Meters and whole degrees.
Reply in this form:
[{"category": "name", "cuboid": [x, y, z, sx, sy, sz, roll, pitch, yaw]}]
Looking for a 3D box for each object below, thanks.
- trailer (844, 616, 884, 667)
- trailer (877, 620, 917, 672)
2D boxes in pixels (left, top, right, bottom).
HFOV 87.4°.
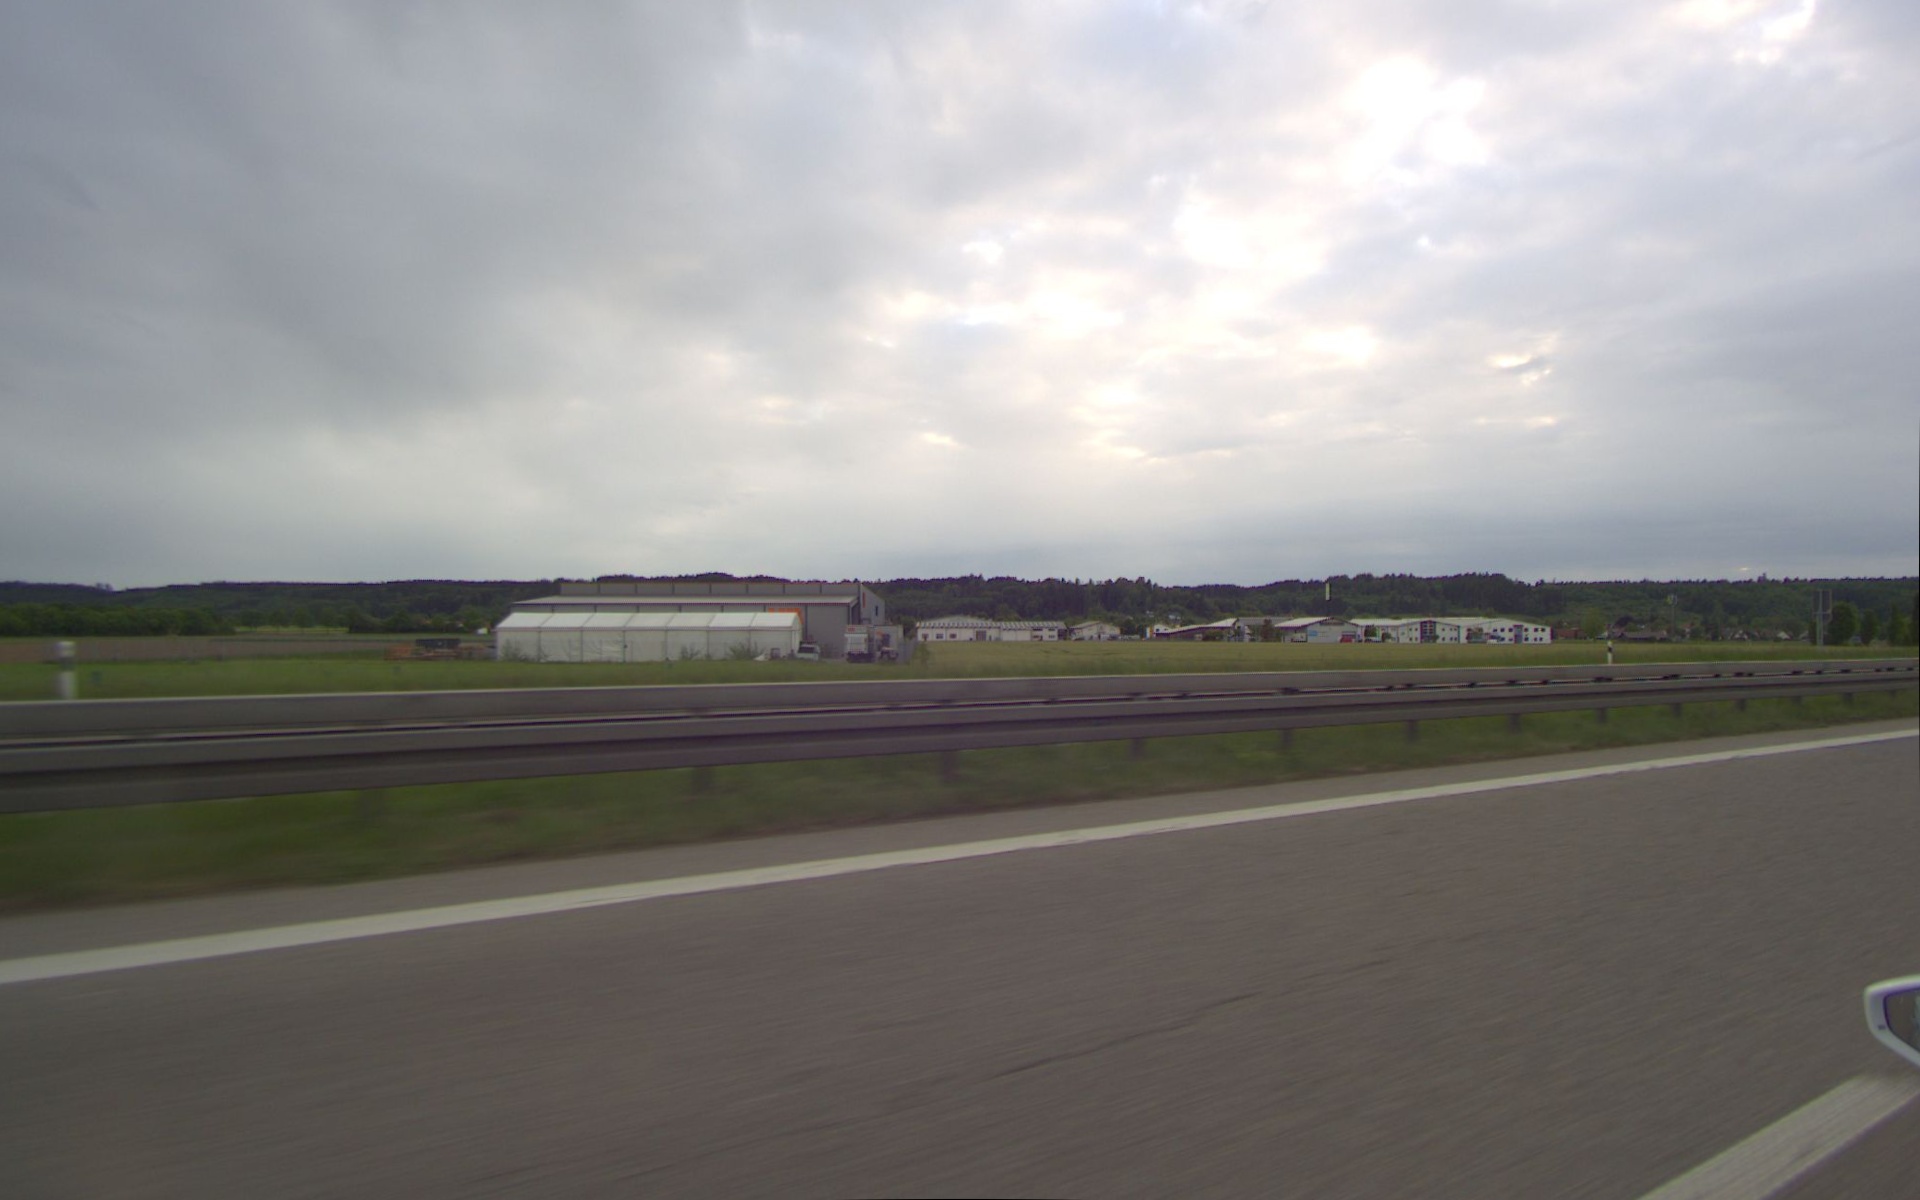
[{"category": "trailer", "cuboid": [-10.660, 4.699, 112.764, 3.681, 5.328, 10.084, 1, -3, -1]}, {"category": "trailer", "cuboid": [-6.758, 5.122, 110.715, 3.500, 5.202, 17.038, 1, -3, -1]}]
